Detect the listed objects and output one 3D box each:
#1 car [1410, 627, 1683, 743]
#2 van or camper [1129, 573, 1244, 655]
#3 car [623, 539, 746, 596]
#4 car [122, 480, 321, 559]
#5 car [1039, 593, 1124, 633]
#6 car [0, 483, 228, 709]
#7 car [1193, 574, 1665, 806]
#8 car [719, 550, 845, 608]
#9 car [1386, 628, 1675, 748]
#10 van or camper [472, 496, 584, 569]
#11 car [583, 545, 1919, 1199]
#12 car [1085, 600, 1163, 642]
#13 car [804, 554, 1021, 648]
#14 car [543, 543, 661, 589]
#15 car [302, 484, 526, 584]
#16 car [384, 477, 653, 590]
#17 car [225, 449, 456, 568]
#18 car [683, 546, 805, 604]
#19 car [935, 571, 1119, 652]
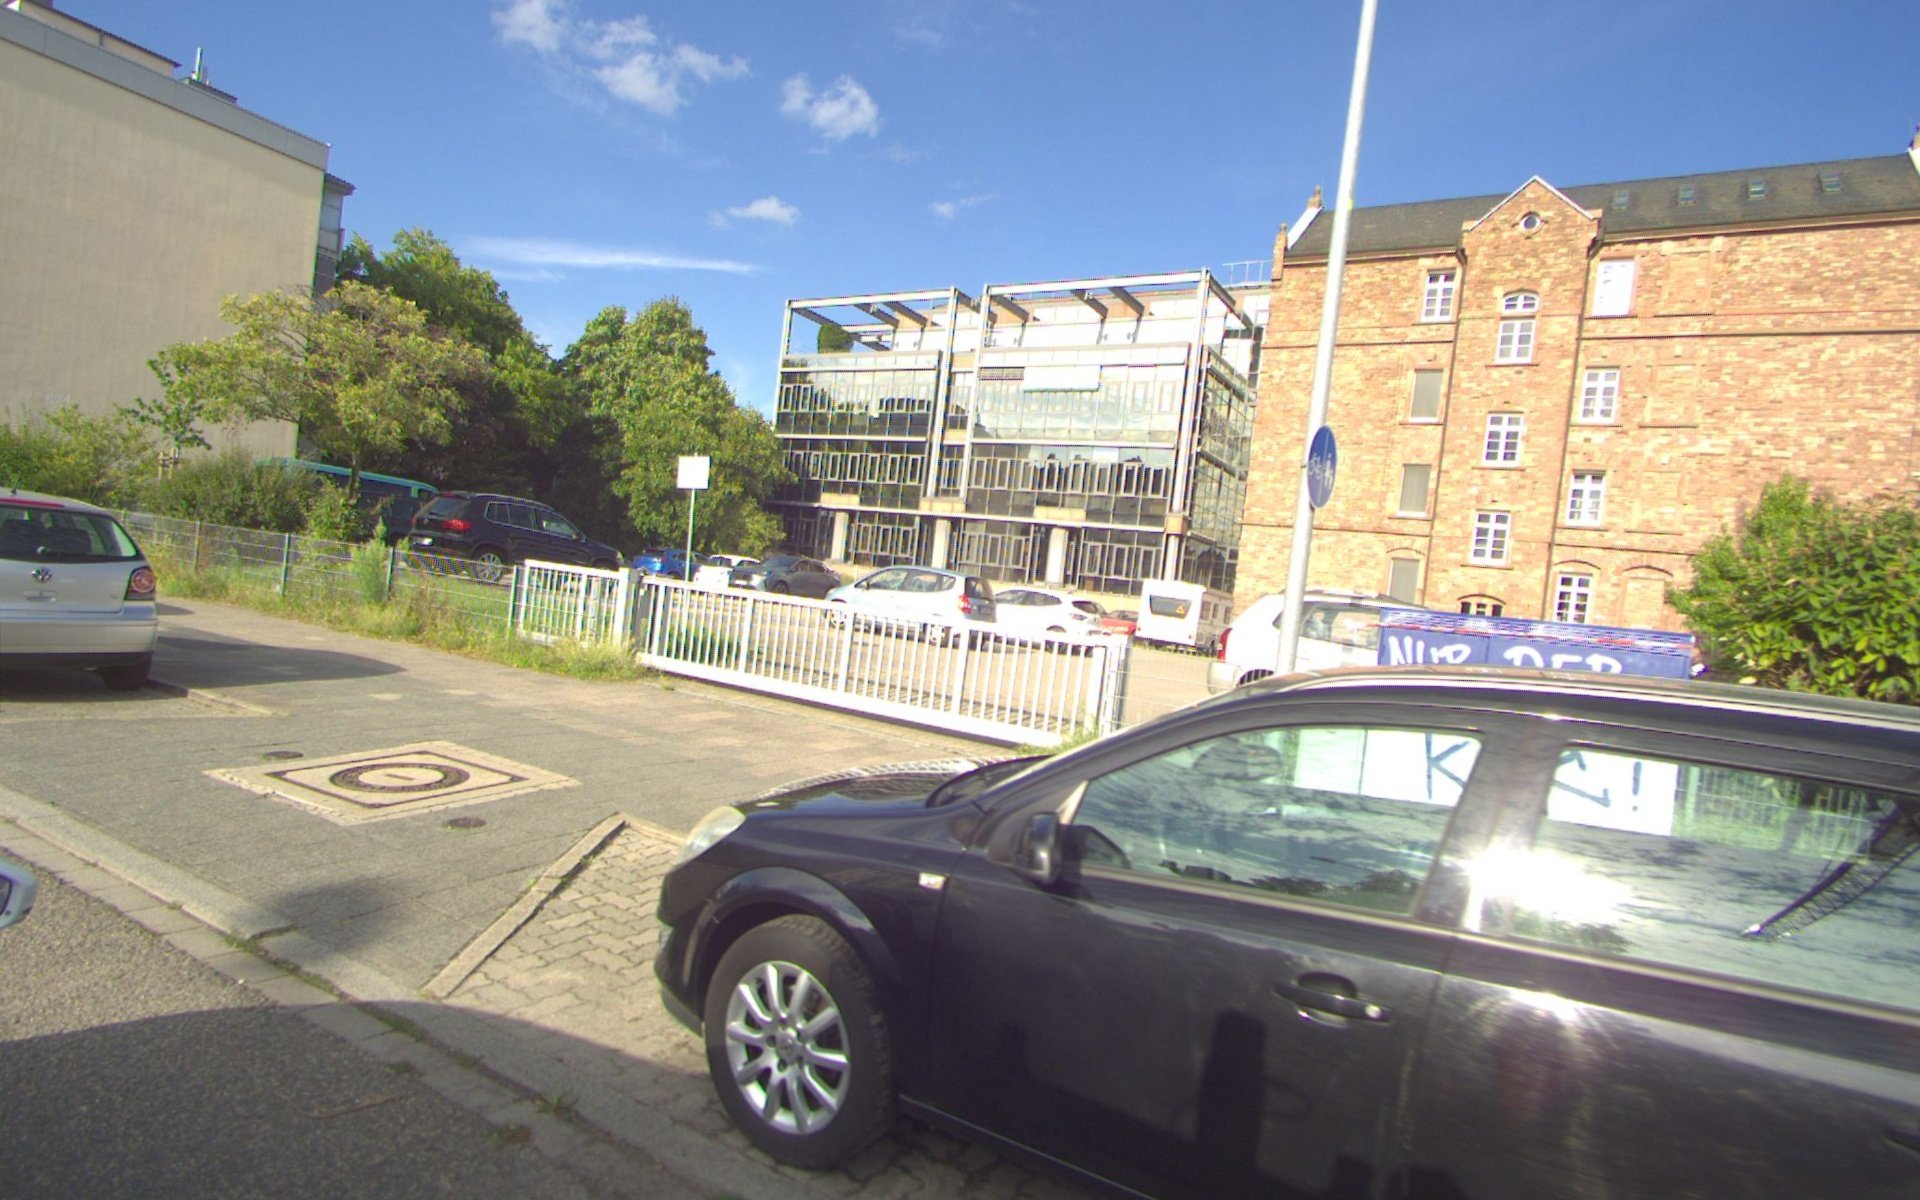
[{"bbox_3d":[12.357,1.727,21.599,4.717,1.766,1.853,6,2,26],"label":"car"},{"bbox_3d":[8.498,0.570,37.345,2.551,2.589,5.246,7,1,29],"label":"van or camper"},{"bbox_3d":[-9.919,-1.140,36.459,1.966,1.572,3.991,7,1,29],"label":"car"},{"bbox_3d":[-20.489,-2.199,28.049,1.969,1.605,3.986,7,1,35],"label":"car"},{"bbox_3d":[4.980,0.545,40.898,1.779,1.373,4.321,7,2,30],"label":"car"},{"bbox_3d":[-8.198,-0.234,8.126,4.722,1.494,2.016,6,2,32],"label":"car"},{"bbox_3d":[4.886,0.820,10.794,4.082,1.687,1.995,7,2,31],"label":"car"},{"bbox_3d":[-5.864,-0.676,33.627,1.966,1.505,3.991,7,1,29],"label":"car"},{"bbox_3d":[10.896,1.602,19.476,4.531,1.610,1.851,6,2,32],"label":"car"},{"bbox_3d":[-20.645,-3.225,48.006,5.038,2.912,2.330,7,2,33],"label":"van or camper"},{"bbox_3d":[1.180,0.839,2.574,4.197,1.515,1.719,6,1,32],"label":"car"},{"bbox_3d":[6.425,0.839,39.069,1.634,1.304,3.992,7,1,29],"label":"car"},{"bbox_3d":[-0.995,0.017,20.863,3.930,1.461,1.996,7,1,28],"label":"car"},{"bbox_3d":[-13.947,-1.301,39.414,1.965,1.346,3.992,7,1,28],"label":"car"},{"bbox_3d":[-12.448,-1.464,23.141,1.968,1.761,3.987,7,1,34],"label":"car"},{"bbox_3d":[-8.626,-1.242,20.035,1.968,1.642,4.449,7,1,34],"label":"car"},{"bbox_3d":[-14.658,-2.106,24.010,1.968,2.214,4.120,7,1,34],"label":"car"},{"bbox_3d":[-7.587,-0.838,35.676,1.966,1.616,3.991,7,1,29],"label":"car"},{"bbox_3d":[1.653,0.270,24.644,3.927,1.461,1.998,7,1,23],"label":"car"}]
